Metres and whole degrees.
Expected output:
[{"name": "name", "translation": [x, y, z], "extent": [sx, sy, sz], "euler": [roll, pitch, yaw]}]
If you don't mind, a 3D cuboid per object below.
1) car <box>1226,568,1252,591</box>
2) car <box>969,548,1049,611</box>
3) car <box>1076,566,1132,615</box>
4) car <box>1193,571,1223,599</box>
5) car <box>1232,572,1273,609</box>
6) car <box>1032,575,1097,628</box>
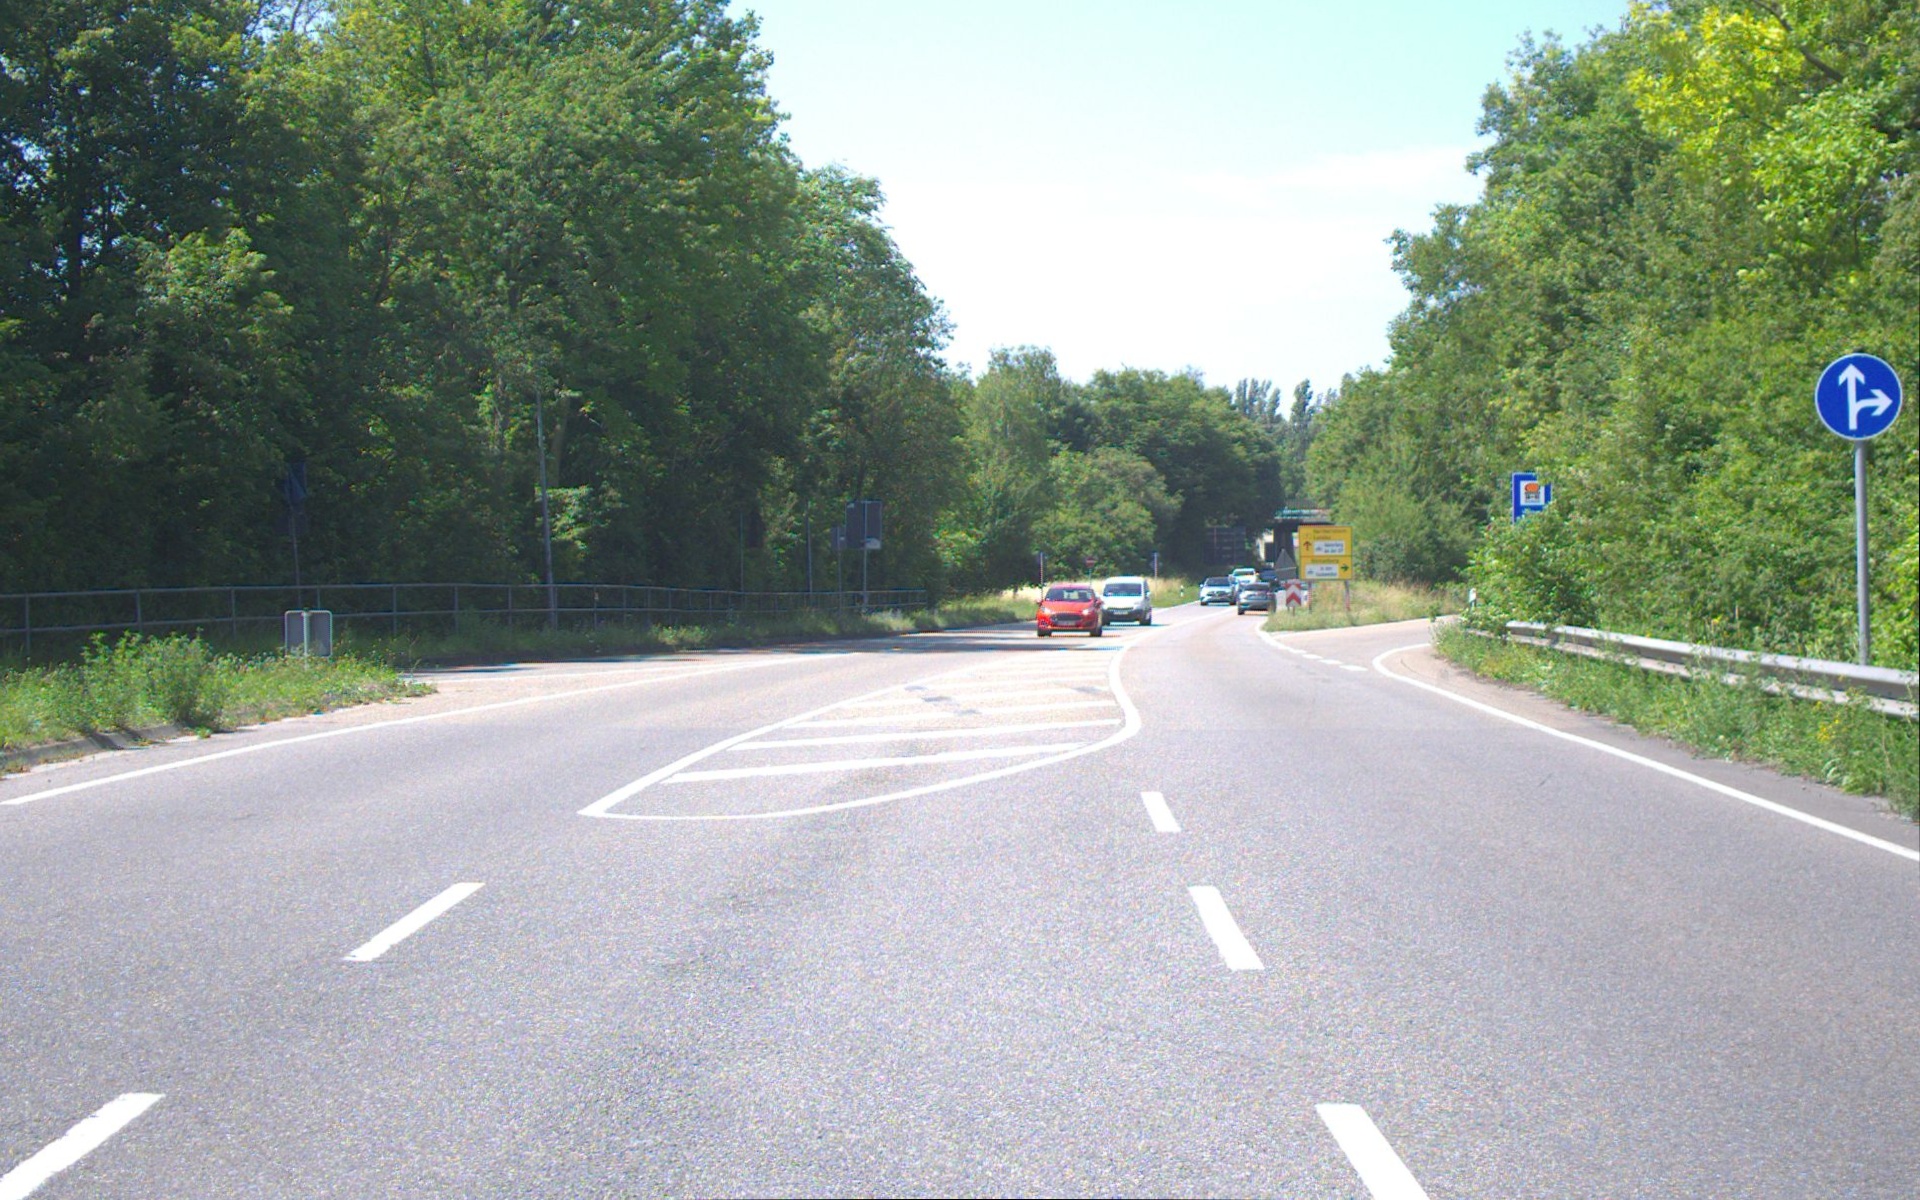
[{"name": "car", "translation": [19.682, -1.456, 242.547], "extent": [1.720, 1.523, 3.709], "euler": [0, 1, 6]}, {"name": "car", "translation": [2.523, -1.096, 178.199], "extent": [1.993, 3.215, 4.809], "euler": [-1, 1, -28]}, {"name": "car", "translation": [5.389, -0.365, 128.071], "extent": [1.994, 1.724, 4.274], "euler": [-1, 1, 3]}, {"name": "car", "translation": [14.232, -0.867, 196.992], "extent": [1.677, 1.522, 4.000], "euler": [0, 1, 5]}, {"name": "car", "translation": [13.925, -0.479, 163.816], "extent": [1.843, 1.679, 4.000], "euler": [0, 1, 3]}, {"name": "car", "translation": [2.986, 0.033, 97.596], "extent": [1.810, 1.453, 3.758], "euler": [0, 1, 2]}]
